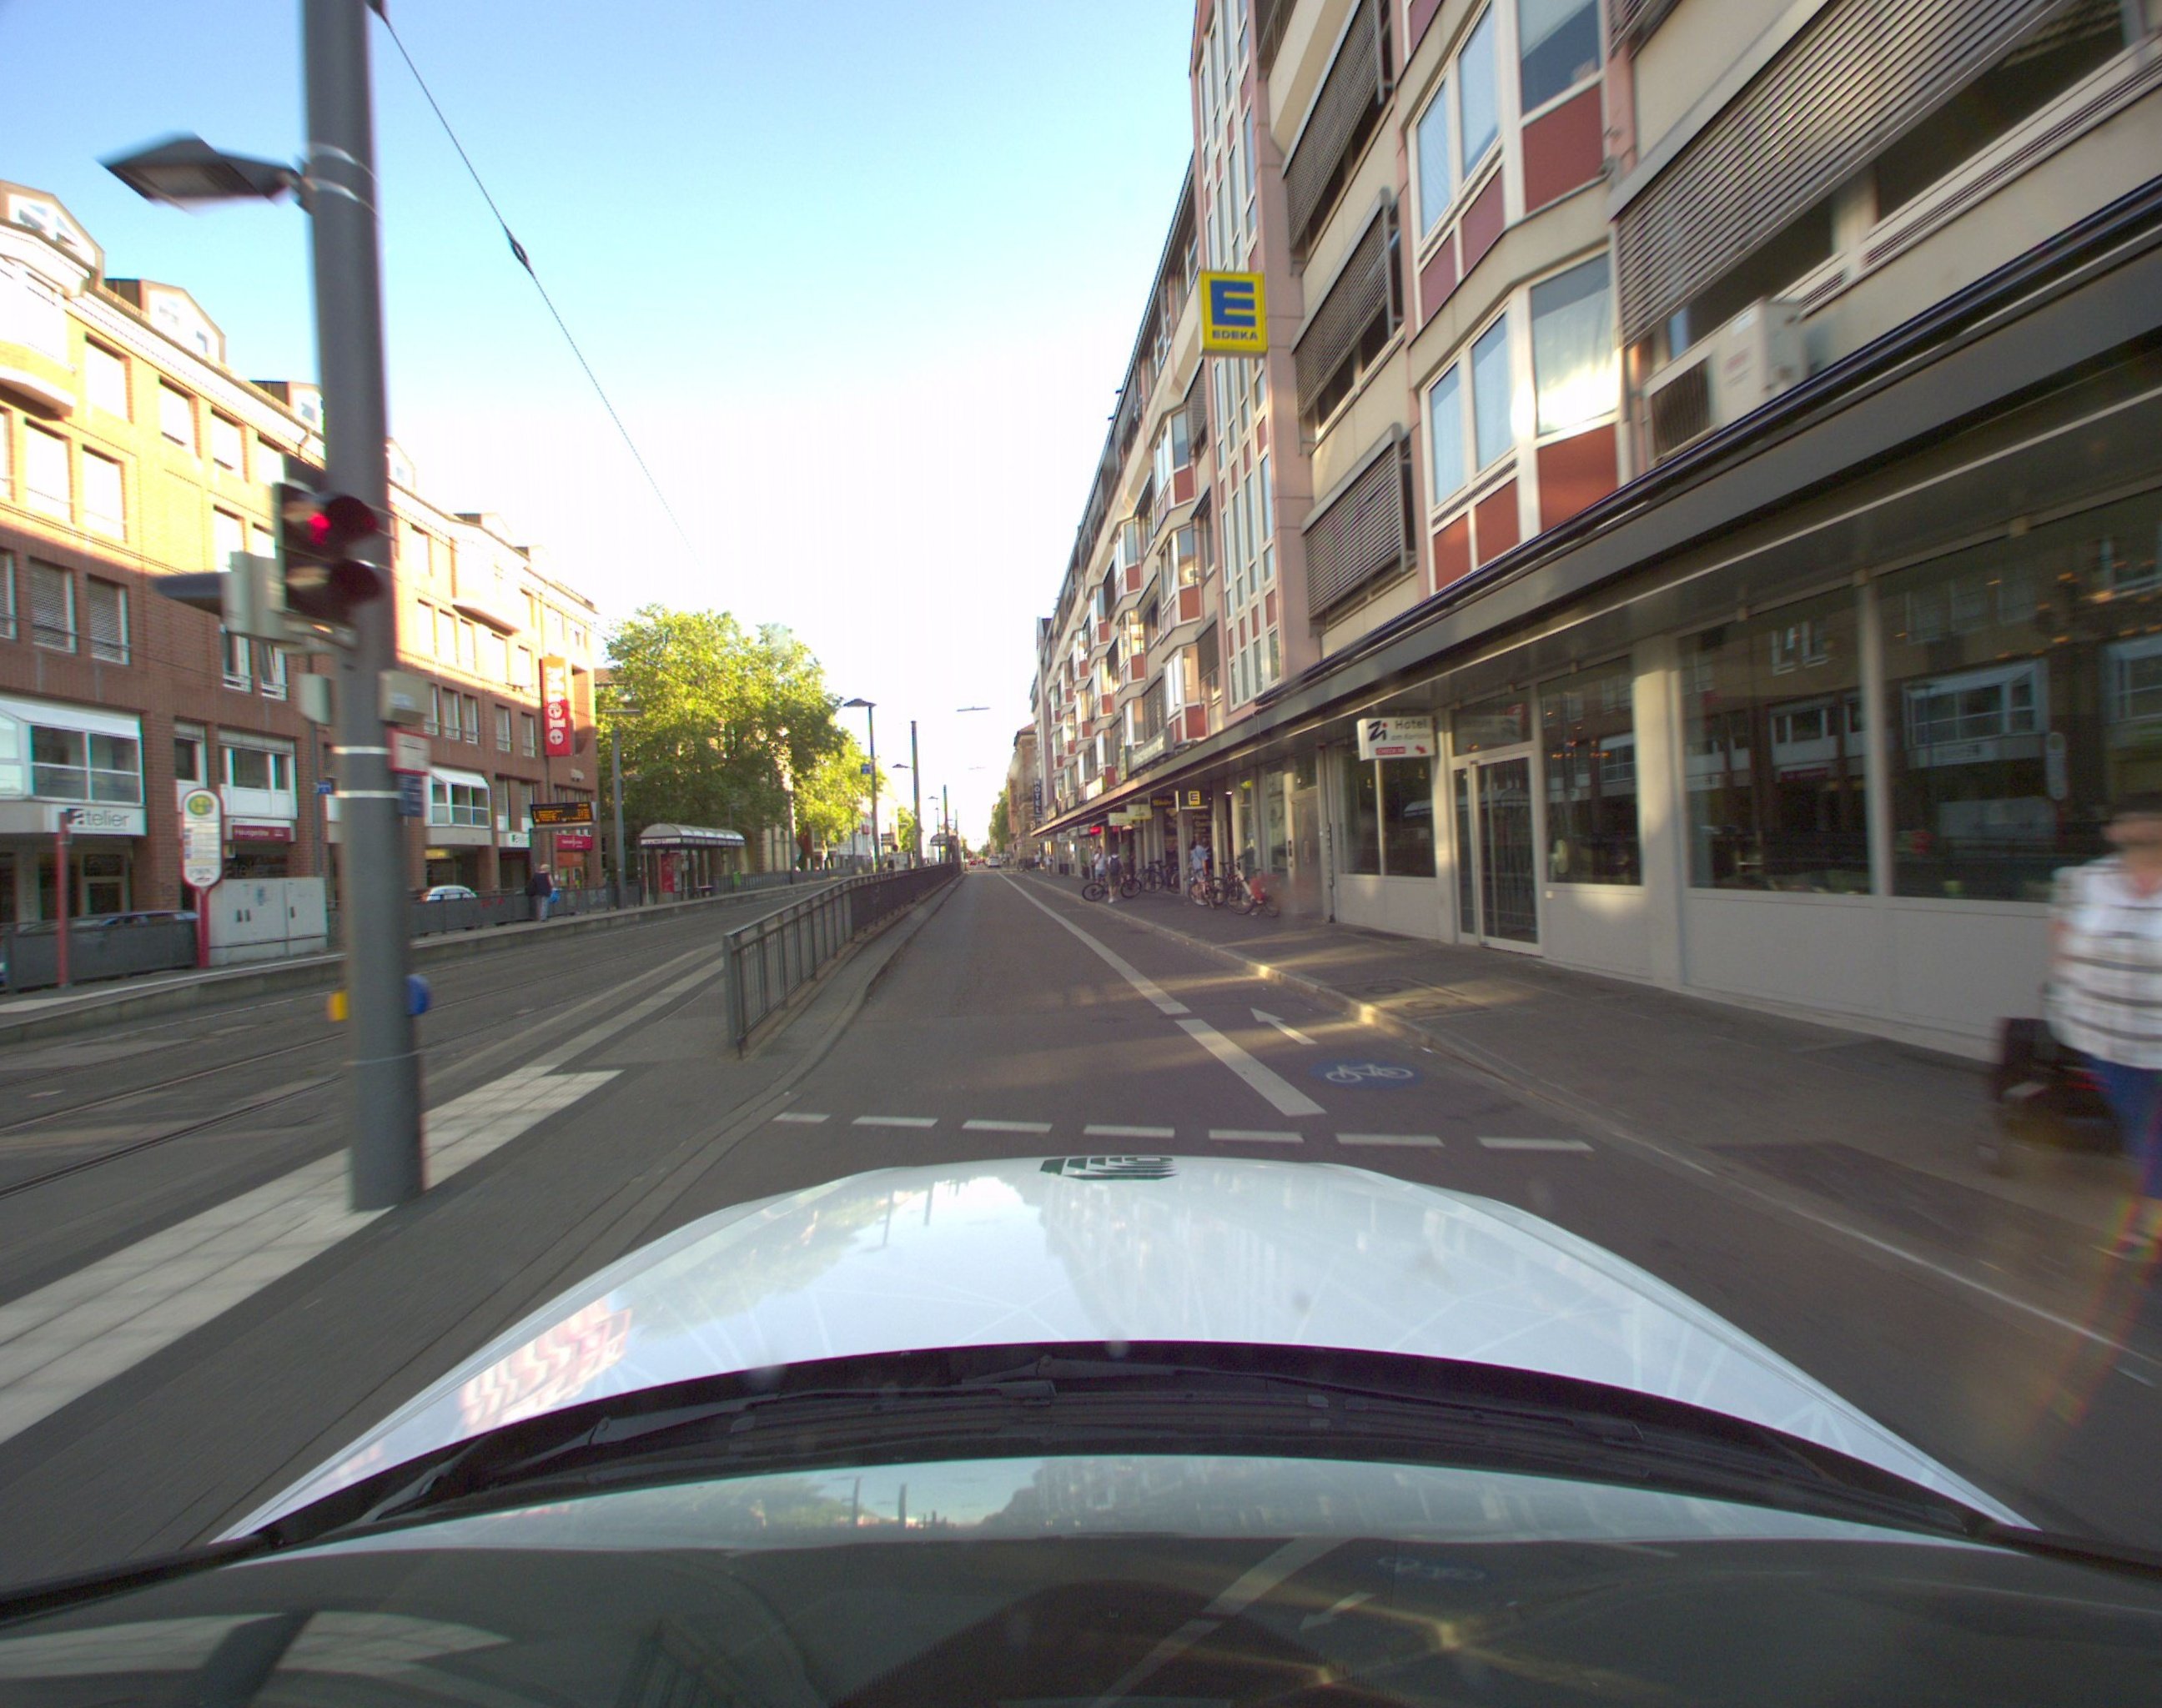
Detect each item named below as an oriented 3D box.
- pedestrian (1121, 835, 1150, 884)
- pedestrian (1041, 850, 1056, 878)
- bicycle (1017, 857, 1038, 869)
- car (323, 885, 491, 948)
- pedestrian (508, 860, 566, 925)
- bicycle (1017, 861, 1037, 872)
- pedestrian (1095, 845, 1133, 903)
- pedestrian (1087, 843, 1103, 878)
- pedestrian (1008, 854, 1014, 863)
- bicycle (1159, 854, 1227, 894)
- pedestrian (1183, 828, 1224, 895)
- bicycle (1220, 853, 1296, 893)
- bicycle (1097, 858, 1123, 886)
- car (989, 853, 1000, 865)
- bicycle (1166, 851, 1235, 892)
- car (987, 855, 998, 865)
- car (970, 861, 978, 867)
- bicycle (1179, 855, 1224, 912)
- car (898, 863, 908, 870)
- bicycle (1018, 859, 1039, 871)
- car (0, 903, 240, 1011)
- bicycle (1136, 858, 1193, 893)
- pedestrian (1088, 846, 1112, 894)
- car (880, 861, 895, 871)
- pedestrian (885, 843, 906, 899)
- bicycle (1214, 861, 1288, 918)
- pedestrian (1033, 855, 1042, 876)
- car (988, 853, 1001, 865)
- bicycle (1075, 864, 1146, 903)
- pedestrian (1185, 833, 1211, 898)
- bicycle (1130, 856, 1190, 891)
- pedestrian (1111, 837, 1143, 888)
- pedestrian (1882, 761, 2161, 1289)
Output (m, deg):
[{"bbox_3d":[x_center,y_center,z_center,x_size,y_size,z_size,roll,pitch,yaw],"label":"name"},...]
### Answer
[{"bbox_3d":[2.164,0.221,32.461,0.781,1.866,0.681,-4,0,-27],"label":"pedestrian"},{"bbox_3d":[-2.121,0.648,52.969,0.797,1.722,1.059,-6,0,-6],"label":"pedestrian"},{"bbox_3d":[-5.228,0.873,79.655,1.971,1.104,0.612,-3,0,-11],"label":"bicycle"},{"bbox_3d":[-20.712,1.862,25.303,1.908,1.594,4.280,-4,-1,-7],"label":"car"},{"bbox_3d":[-14.630,1.010,21.924,0.911,1.662,0.965,-3,0,-8],"label":"pedestrian"},{"bbox_3d":[-5.311,1.216,80.375,1.834,1.054,0.715,-3,0,-11],"label":"bicycle"},{"bbox_3d":[0.994,0.592,24.497,0.778,1.663,0.912,-4,0,-16],"label":"pedestrian"},{"bbox_3d":[0.672,0.311,39.172,0.542,1.673,0.466,-4,-1,-16],"label":"pedestrian"},{"bbox_3d":[-12.969,0.914,150.737,0.775,1.567,0.912,-6,0,-6],"label":"pedestrian"},{"bbox_3d":[3.456,0.615,25.167,1.924,1.060,0.574,-4,0,-11],"label":"bicycle"},{"bbox_3d":[3.443,0.210,22.889,0.737,1.816,0.797,-2,0,-45],"label":"pedestrian"},{"bbox_3d":[4.900,0.524,22.522,1.924,0.938,0.574,-4,0,-11],"label":"bicycle"},{"bbox_3d":[1.213,0.750,34.094,0.657,1.066,1.789,-7,0,-8],"label":"bicycle"},{"bbox_3d":[-16.036,0.978,151.218,1.702,2.120,3.700,-2,-1,-4],"label":"car"},{"bbox_3d":[3.590,0.530,24.523,1.924,1.060,0.574,-4,0,-11],"label":"bicycle"},{"bbox_3d":[-17.012,1.203,156.500,1.948,1.788,5.166,-1,-1,-8],"label":"car"},{"bbox_3d":[-30.356,2.858,230.767,2.039,1.674,4.863,-1,0,-7],"label":"car"},{"bbox_3d":[2.777,0.657,18.913,0.795,1.175,1.635,-6,0,4],"label":"bicycle"},{"bbox_3d":[-40.056,2.822,183.147,1.869,1.600,4.239,-2,0,-10],"label":"car"},{"bbox_3d":[-5.120,1.063,79.007,1.914,1.047,0.678,-3,0,-11],"label":"bicycle"},{"bbox_3d":[-19.688,1.962,16.188,1.892,1.600,4.185,-3,1,-8],"label":"car"},{"bbox_3d":[2.739,0.689,26.847,1.727,0.973,0.505,-6,0,-3],"label":"bicycle"},{"bbox_3d":[0.682,0.569,29.014,0.632,1.673,0.769,-4,0,-7],"label":"pedestrian"},{"bbox_3d":[-35.462,2.156,149.446,2.089,1.713,4.805,-1,-1,-8],"label":"car"},{"bbox_3d":[-6.122,0.550,26.915,0.582,1.791,0.604,-3,-1,-9],"label":"pedestrian"},{"bbox_3d":[3.331,0.676,16.121,0.676,0.976,1.836,-7,0,-10],"label":"bicycle"},{"bbox_3d":[-3.873,0.998,72.531,0.812,1.884,0.775,1,-1,-6],"label":"pedestrian"},{"bbox_3d":[-13.622,0.814,128.473,1.964,1.771,4.864,-1,0,-6],"label":"car"},{"bbox_3d":[0.893,0.902,24.958,2.019,0.973,0.658,-6,1,-5],"label":"bicycle"},{"bbox_3d":[2.945,0.288,20.530,0.403,1.595,0.463,-6,0,20],"label":"pedestrian"},{"bbox_3d":[2.736,0.678,28.218,1.923,1.060,0.575,-4,0,-8],"label":"bicycle"},{"bbox_3d":[1.761,0.323,31.265,0.915,1.866,0.776,-6,0,-11],"label":"pedestrian"},{"bbox_3d":[3.605,0.532,2.891,0.637,1.661,0.764,-7,1,-17],"label":"pedestrian"}]
